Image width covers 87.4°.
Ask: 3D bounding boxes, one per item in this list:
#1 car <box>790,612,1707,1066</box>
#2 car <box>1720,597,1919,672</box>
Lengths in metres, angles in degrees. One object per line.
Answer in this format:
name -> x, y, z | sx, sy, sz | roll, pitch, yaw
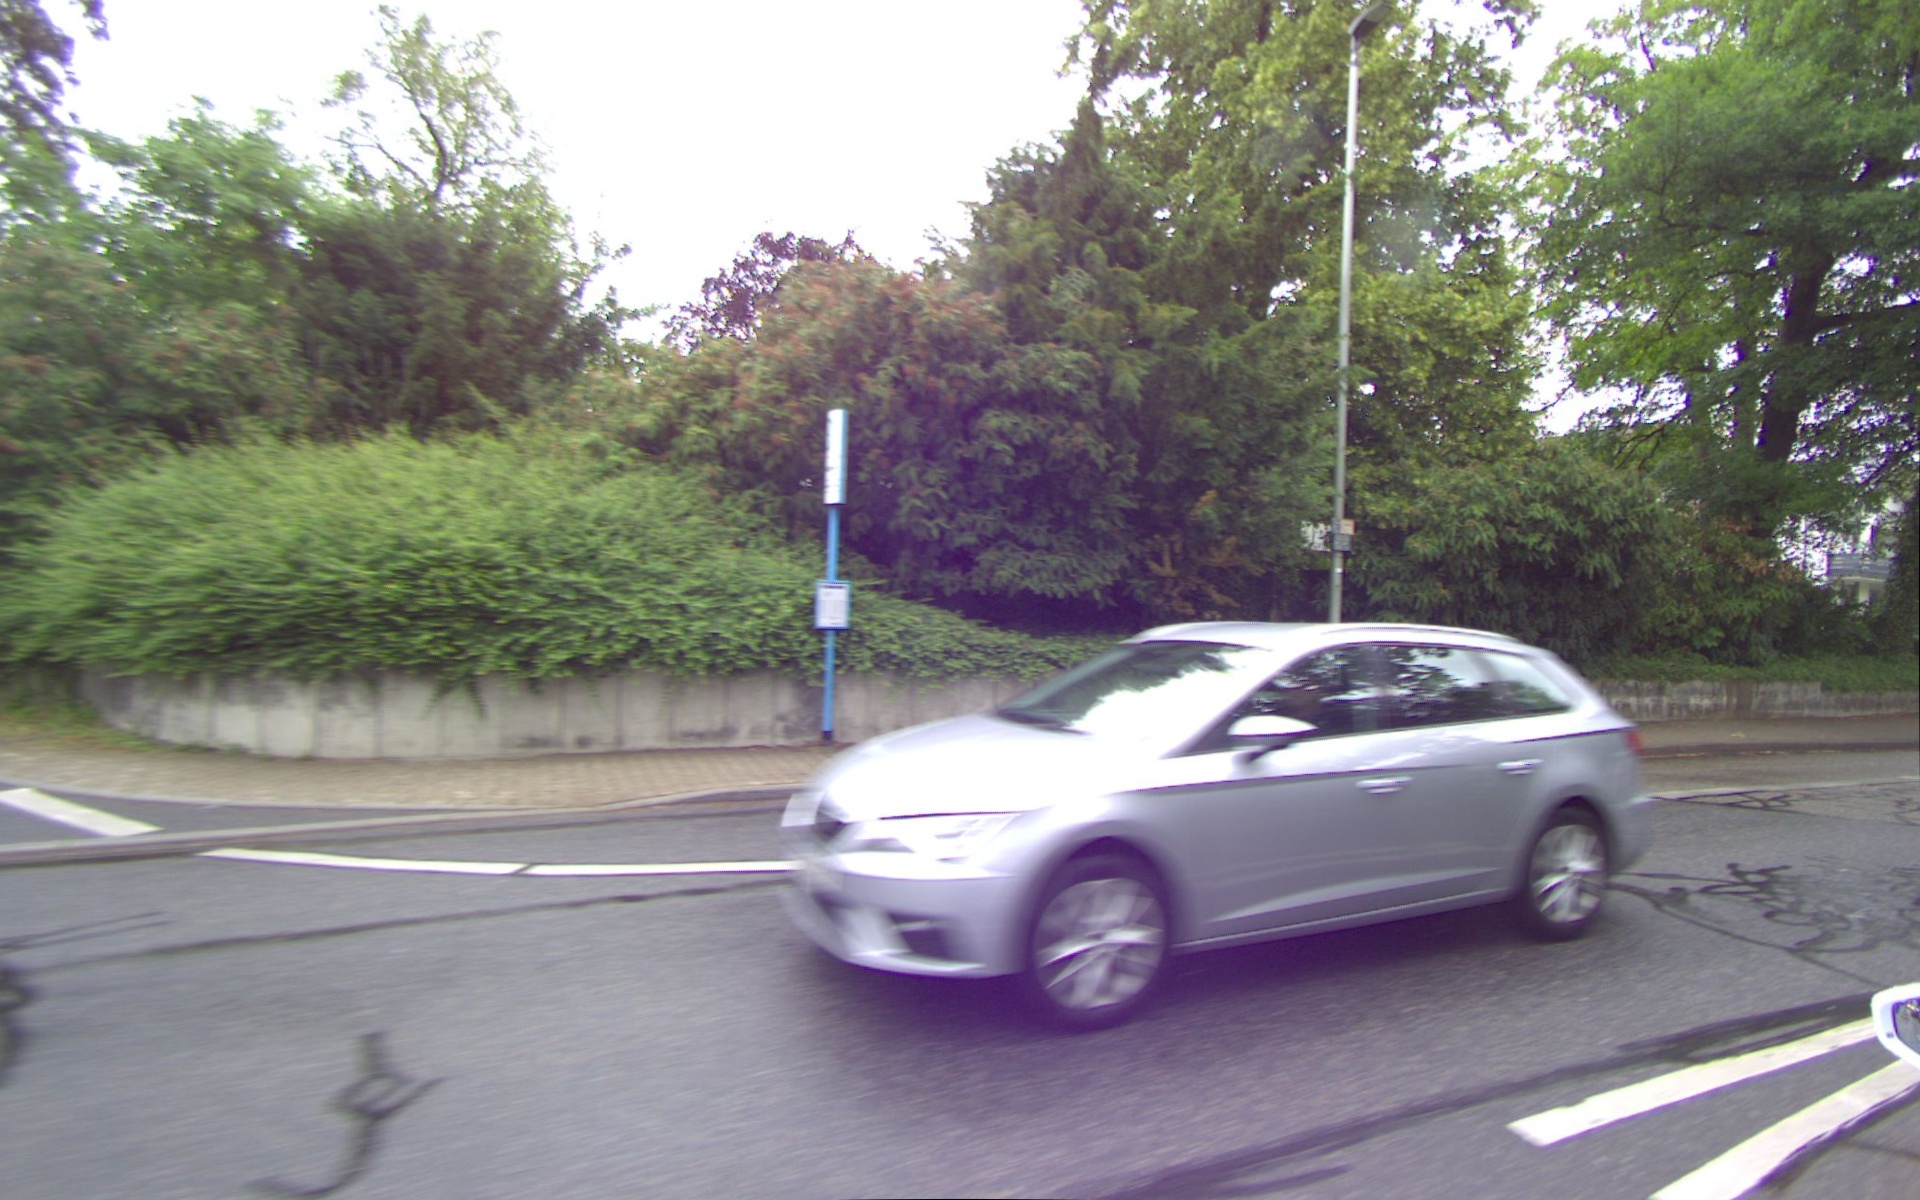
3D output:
car -> 1.500, 0.839, 4.974 | 4.302, 1.441, 1.784 | 2, -2, -26
car -> 28.974, 1.072, 32.765 | 3.435, 2.065, 5.721 | 2, 1, -27
